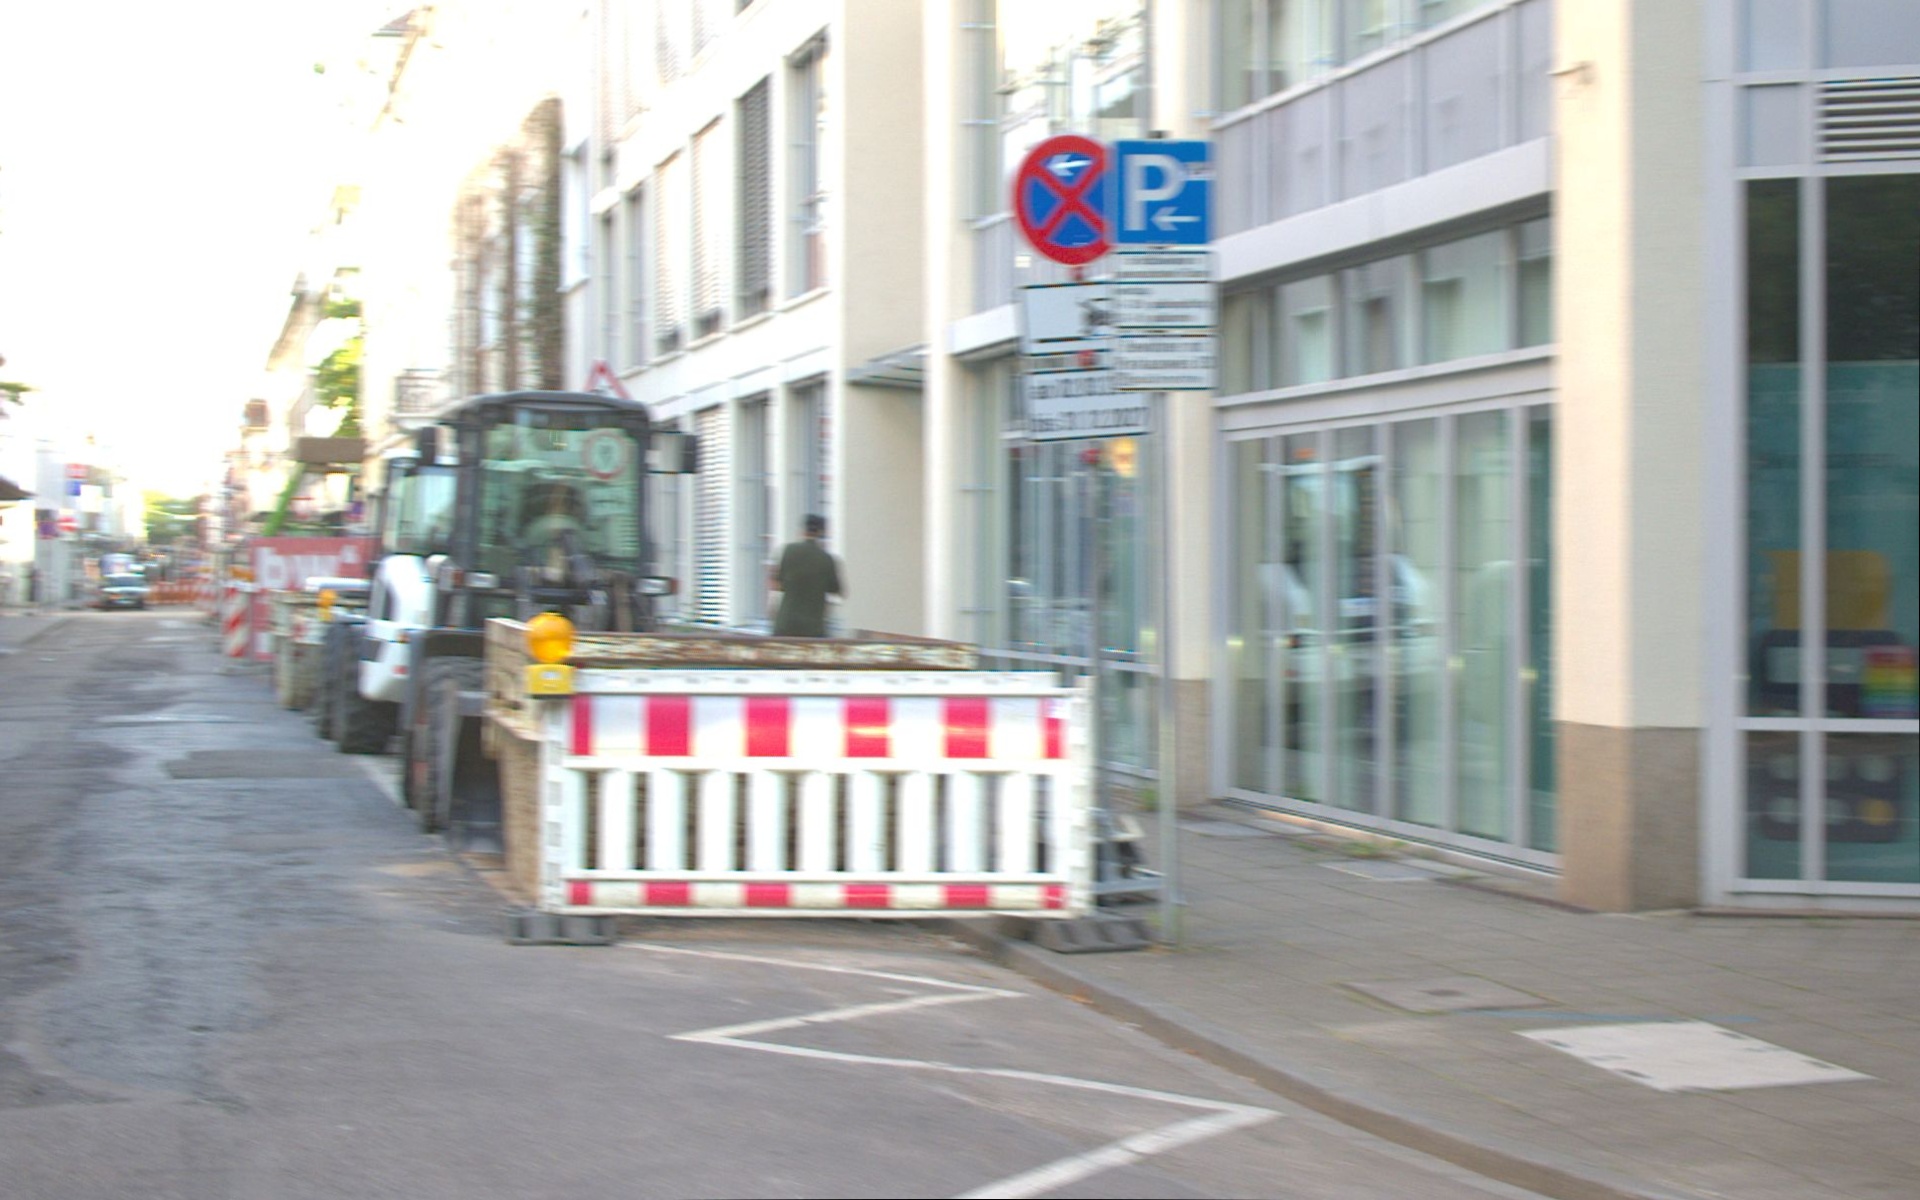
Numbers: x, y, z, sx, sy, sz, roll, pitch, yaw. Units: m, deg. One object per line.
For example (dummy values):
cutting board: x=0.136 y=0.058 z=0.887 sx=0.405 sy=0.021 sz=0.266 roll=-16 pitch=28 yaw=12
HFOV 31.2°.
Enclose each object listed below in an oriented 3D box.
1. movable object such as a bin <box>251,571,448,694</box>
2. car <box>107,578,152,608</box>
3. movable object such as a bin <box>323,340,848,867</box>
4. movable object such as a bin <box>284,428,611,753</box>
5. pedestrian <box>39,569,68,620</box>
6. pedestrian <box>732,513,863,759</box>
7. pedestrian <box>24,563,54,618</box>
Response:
movable object such as a bin: x=-7.549 y=0.359 z=42.234 sx=2.045 sy=1.406 sz=3.976 roll=-1 pitch=1 yaw=-15
car: x=-32.424 y=-0.275 z=134.172 sx=1.536 sy=1.130 sz=3.122 roll=-1 pitch=1 yaw=-16
movable object such as a bin: x=-2.423 y=-0.031 z=20.538 sx=2.276 sy=2.683 sz=5.650 roll=-1 pitch=1 yaw=-15
movable object such as a bin: x=-4.419 y=-0.111 z=29.095 sx=2.276 sy=2.531 sz=4.099 roll=-1 pitch=1 yaw=-15
pedestrian: x=-28.484 y=-0.181 z=108.065 sx=0.797 sy=1.588 sz=0.744 roll=-1 pitch=0 yaw=-10
pedestrian: x=-1.249 y=0.264 z=26.320 sx=0.887 sy=1.844 sz=0.876 roll=0 pitch=1 yaw=-10
pedestrian: x=-27.984 y=-0.291 z=104.459 sx=0.797 sy=1.655 sz=0.744 roll=0 pitch=1 yaw=-10
